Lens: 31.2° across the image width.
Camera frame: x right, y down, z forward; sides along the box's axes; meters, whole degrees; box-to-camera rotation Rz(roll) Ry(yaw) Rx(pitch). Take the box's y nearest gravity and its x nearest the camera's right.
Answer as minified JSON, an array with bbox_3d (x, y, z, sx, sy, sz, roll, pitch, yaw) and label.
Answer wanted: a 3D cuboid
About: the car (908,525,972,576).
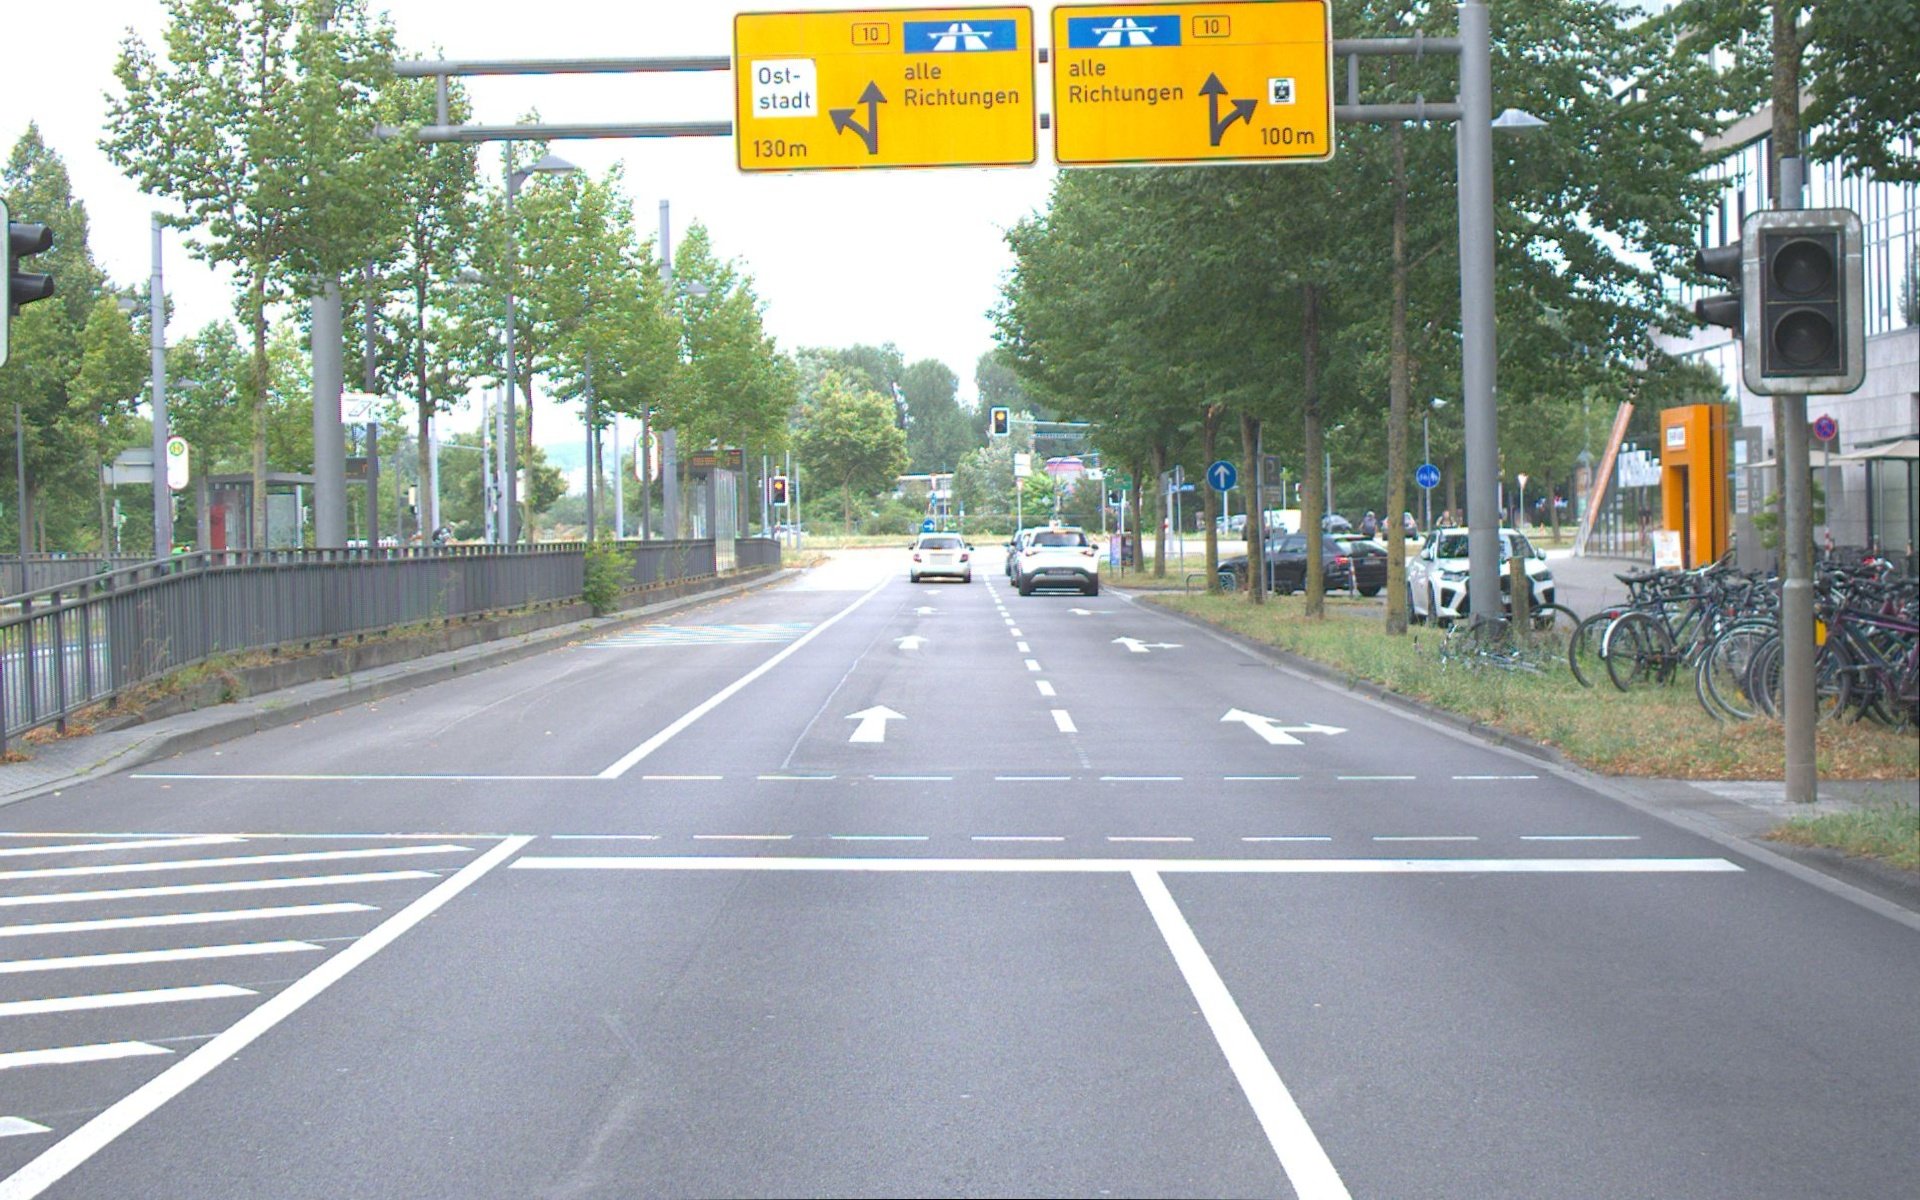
[{"bbox_3d":[-0.615,-1.461,101.336,1.773,1.443,3.911,-1,1,-2],"label":"car"}]

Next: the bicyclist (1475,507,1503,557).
[{"bbox_3d":[16.971,-2.172,110.233,0.724,1.577,0.990,-1,1,1],"label":"bicyclist"}]

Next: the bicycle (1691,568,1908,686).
[{"bbox_3d":[7.484,0.237,30.669,1.743,0.971,0.609,2,1,-8],"label":"bicycle"}]

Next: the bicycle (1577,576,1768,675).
[{"bbox_3d":[7.491,0.264,36.190,1.860,0.948,0.501,2,1,-3],"label":"bicycle"}]

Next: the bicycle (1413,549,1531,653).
[{"bbox_3d":[5.882,-0.001,39.606,0.709,1.111,2.204,2,1,-8],"label":"bicycle"}]

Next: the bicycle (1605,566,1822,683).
[{"bbox_3d":[7.444,0.239,34.007,1.929,1.061,0.705,2,1,-3],"label":"bicycle"}]

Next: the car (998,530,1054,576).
[{"bbox_3d":[2.148,-1.551,112.396,1.624,1.443,3.911,0,1,-2],"label":"car"}]

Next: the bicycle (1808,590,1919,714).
[{"bbox_3d":[7.474,0.414,26.427,1.714,0.903,0.589,2,1,-8],"label":"bicycle"}]

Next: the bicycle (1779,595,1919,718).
[{"bbox_3d":[7.388,0.455,27.041,1.714,0.903,0.589,2,1,-8],"label":"bicycle"}]

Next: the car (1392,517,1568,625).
[{"bbox_3d":[7.902,-0.476,52.641,1.938,1.546,4.594,-1,1,-1],"label":"car"}]

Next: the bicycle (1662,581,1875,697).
[{"bbox_3d":[7.352,0.349,31.292,1.743,0.971,0.609,2,1,-8],"label":"bicycle"}]

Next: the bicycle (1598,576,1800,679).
[{"bbox_3d":[7.453,0.272,34.699,1.860,0.948,0.613,2,1,-3],"label":"bicycle"}]

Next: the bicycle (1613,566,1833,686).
[{"bbox_3d":[7.372,0.247,33.247,1.929,1.061,0.642,2,1,-3],"label":"bicycle"}]

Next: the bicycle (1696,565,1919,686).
[{"bbox_3d":[7.353,0.221,29.822,1.743,0.971,0.609,2,1,-8],"label":"bicycle"}]

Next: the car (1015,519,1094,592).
[{"bbox_3d":[2.230,-1.080,82.034,1.779,1.651,4.023,-1,1,0],"label":"car"}]

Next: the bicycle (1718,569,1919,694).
[{"bbox_3d":[7.354,0.266,28.983,1.743,0.971,0.609,2,1,-8],"label":"bicycle"}]

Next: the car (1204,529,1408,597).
[{"bbox_3d":[7.872,-0.845,78.649,1.941,1.470,4.870,-2,1,-35],"label":"car"}]

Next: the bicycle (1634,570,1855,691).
[{"bbox_3d":[7.418,0.289,32.517,1.929,1.061,0.544,2,1,-8],"label":"bicycle"}]

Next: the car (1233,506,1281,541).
[{"bbox_3d":[16.017,-4.137,185.727,1.993,1.785,4.001,1,1,-3],"label":"car"}]

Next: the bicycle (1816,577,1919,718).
[{"bbox_3d":[7.385,0.371,25.698,1.772,1.008,0.610,2,1,-8],"label":"bicycle"}]

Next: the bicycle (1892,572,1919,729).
[{"bbox_3d":[7.475,0.369,24.175,1.668,1.086,0.525,1,1,-3],"label":"bicycle"}]

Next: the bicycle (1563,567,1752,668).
[{"bbox_3d":[7.466,0.185,36.855,1.860,0.991,0.574,2,1,-3],"label":"bicycle"}]

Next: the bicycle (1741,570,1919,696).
[{"bbox_3d":[7.391,0.277,28.333,1.714,0.971,0.609,2,1,-8],"label":"bicycle"}]

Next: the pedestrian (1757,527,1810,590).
[{"bbox_3d":[16.547,-0.839,69.104,0.898,1.224,0.950,-1,1,5],"label":"pedestrian"}]

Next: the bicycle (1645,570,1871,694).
[{"bbox_3d":[7.409,0.297,31.937,1.929,1.061,0.544,2,1,-8],"label":"bicycle"}]

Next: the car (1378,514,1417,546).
[{"bbox_3d":[22.902,-3.681,179.957,1.784,1.630,4.400,-1,1,10],"label":"car"}]

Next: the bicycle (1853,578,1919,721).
[{"bbox_3d":[7.479,0.371,25.005,1.772,1.008,0.610,1,1,-8],"label":"bicycle"}]
